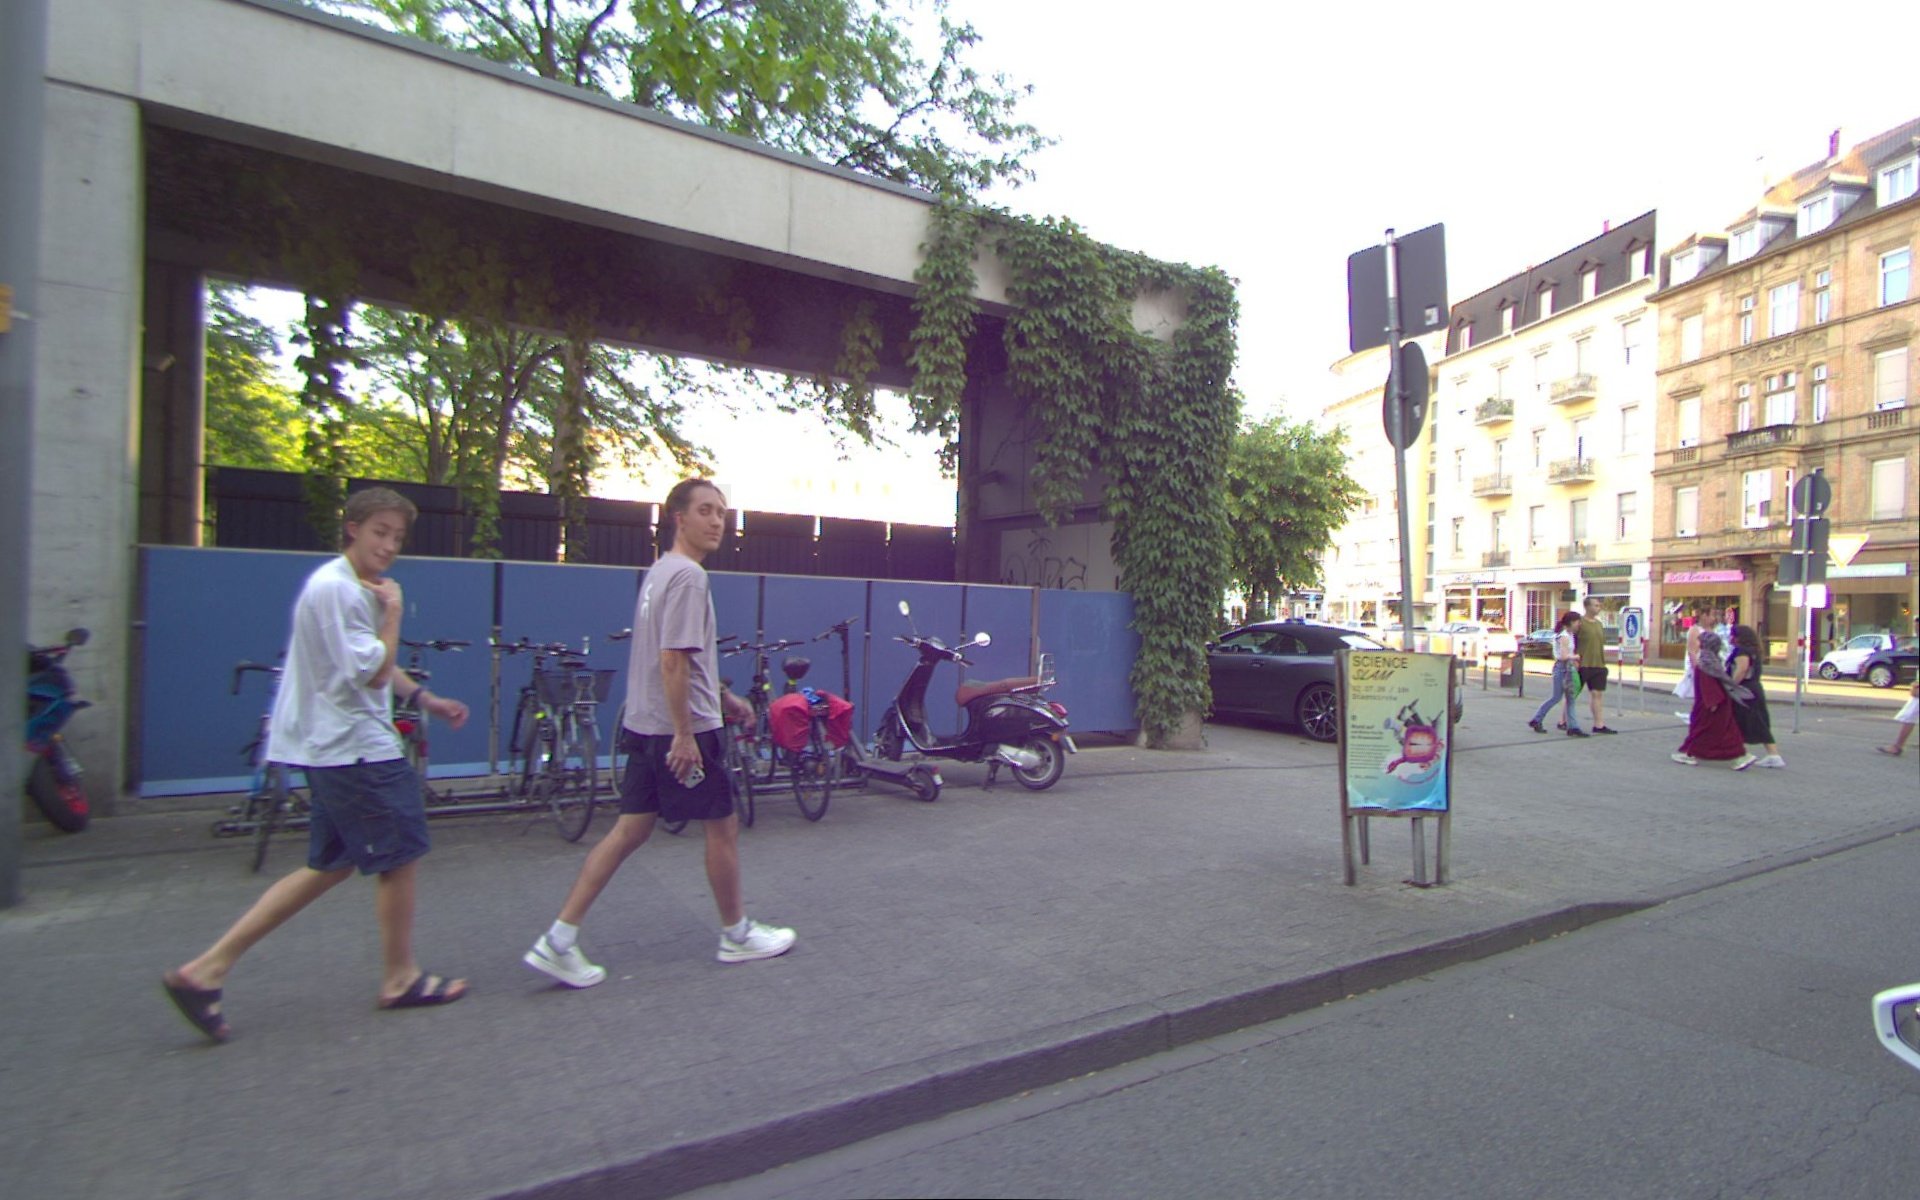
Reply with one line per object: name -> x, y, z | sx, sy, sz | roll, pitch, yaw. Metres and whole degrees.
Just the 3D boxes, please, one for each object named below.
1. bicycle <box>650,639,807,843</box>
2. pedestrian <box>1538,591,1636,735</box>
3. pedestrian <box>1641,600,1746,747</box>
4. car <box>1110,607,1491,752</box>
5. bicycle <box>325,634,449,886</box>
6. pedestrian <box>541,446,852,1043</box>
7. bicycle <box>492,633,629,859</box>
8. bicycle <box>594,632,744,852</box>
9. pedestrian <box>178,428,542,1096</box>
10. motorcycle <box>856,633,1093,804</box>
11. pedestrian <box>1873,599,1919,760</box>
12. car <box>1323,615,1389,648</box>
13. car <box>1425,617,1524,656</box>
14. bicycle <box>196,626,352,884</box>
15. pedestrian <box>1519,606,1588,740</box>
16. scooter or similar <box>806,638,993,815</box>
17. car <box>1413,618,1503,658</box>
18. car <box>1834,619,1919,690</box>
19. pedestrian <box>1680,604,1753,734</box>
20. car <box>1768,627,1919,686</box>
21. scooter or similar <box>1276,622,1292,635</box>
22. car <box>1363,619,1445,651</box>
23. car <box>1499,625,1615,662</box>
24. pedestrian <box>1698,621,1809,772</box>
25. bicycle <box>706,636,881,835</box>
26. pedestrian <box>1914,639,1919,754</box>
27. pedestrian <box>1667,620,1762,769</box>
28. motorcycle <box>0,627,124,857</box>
bicycle -> -1.532, 0.835, 6.479 | 0.438, 1.084, 1.482 | 1, 1, -35
pedestrian -> 8.577, 0.849, 13.766 | 0.839, 1.902, 0.711 | 2, 1, -20
pedestrian -> 9.590, 0.928, 13.163 | 0.865, 1.827, 0.714 | 2, 1, 18
car -> 4.358, 0.913, 13.474 | 2.088, 1.450, 4.401 | 2, 1, -38
bicycle -> -3.082, 0.780, 5.481 | 0.430, 1.102, 1.488 | 2, 1, -25
pedestrian -> -1.043, 0.464, 3.849 | 0.879, 1.909, 0.977 | 1, 1, -30
bicycle -> -2.414, 0.788, 5.984 | 0.407, 1.102, 1.482 | 1, 1, -35
bicycle -> -1.844, 0.803, 6.236 | 0.407, 1.126, 1.482 | 1, 1, -35
pedestrian -> -1.963, 0.442, 3.374 | 0.879, 1.818, 0.977 | 2, 1, -30
motorcycle -> 0.096, 0.885, 7.972 | 1.795, 1.142, 0.536 | 2, 1, 27
pedestrian -> 11.706, 0.951, 12.139 | 0.767, 1.900, 0.713 | 2, 1, 29
car -> 24.831, 1.942, 63.105 | 1.840, 1.786, 4.401 | 2, 1, -8
car -> 23.757, 1.644, 46.587 | 1.784, 1.538, 4.225 | 2, 1, -12
bicycle -> -3.731, 0.743, 5.570 | 0.544, 1.101, 1.858 | 2, 1, -30
pedestrian -> 7.916, 0.943, 13.428 | 0.701, 1.691, 0.881 | 2, 1, 28
scooter or similar -> -0.474, 0.875, 7.387 | 1.475, 1.102, 0.409 | 3, 1, 41
car -> 25.849, 1.934, 52.319 | 1.853, 1.768, 4.652 | 2, 1, -8
car -> 24.909, 1.404, 24.869 | 2.062, 1.675, 4.604 | 0, 1, -13
pedestrian -> 10.823, 0.962, 14.392 | 0.675, 1.769, 0.715 | 2, 1, 29
car -> 29.069, 1.805, 32.893 | 1.674, 1.606, 3.994 | 2, 1, -8
scooter or similar -> 29.126, 2.565, 90.268 | 1.295, 1.179, 0.524 | 2, -1, -2
car -> 25.349, 1.963, 57.553 | 1.985, 1.564, 4.862 | 2, 1, -7
car -> 27.279, 1.966, 46.080 | 1.963, 1.453, 4.844 | 2, -1, -8
pedestrian -> 8.972, 1.057, 11.393 | 0.784, 1.603, 0.730 | 2, 1, 25
bicycle -> -1.160, 0.835, 6.753 | 0.542, 1.102, 1.482 | 1, 1, -35
pedestrian -> 12.263, 1.187, 12.259 | 0.703, 1.506, 0.603 | 2, 1, 29
pedestrian -> 8.384, 1.025, 11.189 | 0.667, 1.563, 0.592 | 2, 1, 24
motorcycle -> -4.946, 0.715, 4.752 | 0.523, 1.083, 1.828 | 2, 1, -3
